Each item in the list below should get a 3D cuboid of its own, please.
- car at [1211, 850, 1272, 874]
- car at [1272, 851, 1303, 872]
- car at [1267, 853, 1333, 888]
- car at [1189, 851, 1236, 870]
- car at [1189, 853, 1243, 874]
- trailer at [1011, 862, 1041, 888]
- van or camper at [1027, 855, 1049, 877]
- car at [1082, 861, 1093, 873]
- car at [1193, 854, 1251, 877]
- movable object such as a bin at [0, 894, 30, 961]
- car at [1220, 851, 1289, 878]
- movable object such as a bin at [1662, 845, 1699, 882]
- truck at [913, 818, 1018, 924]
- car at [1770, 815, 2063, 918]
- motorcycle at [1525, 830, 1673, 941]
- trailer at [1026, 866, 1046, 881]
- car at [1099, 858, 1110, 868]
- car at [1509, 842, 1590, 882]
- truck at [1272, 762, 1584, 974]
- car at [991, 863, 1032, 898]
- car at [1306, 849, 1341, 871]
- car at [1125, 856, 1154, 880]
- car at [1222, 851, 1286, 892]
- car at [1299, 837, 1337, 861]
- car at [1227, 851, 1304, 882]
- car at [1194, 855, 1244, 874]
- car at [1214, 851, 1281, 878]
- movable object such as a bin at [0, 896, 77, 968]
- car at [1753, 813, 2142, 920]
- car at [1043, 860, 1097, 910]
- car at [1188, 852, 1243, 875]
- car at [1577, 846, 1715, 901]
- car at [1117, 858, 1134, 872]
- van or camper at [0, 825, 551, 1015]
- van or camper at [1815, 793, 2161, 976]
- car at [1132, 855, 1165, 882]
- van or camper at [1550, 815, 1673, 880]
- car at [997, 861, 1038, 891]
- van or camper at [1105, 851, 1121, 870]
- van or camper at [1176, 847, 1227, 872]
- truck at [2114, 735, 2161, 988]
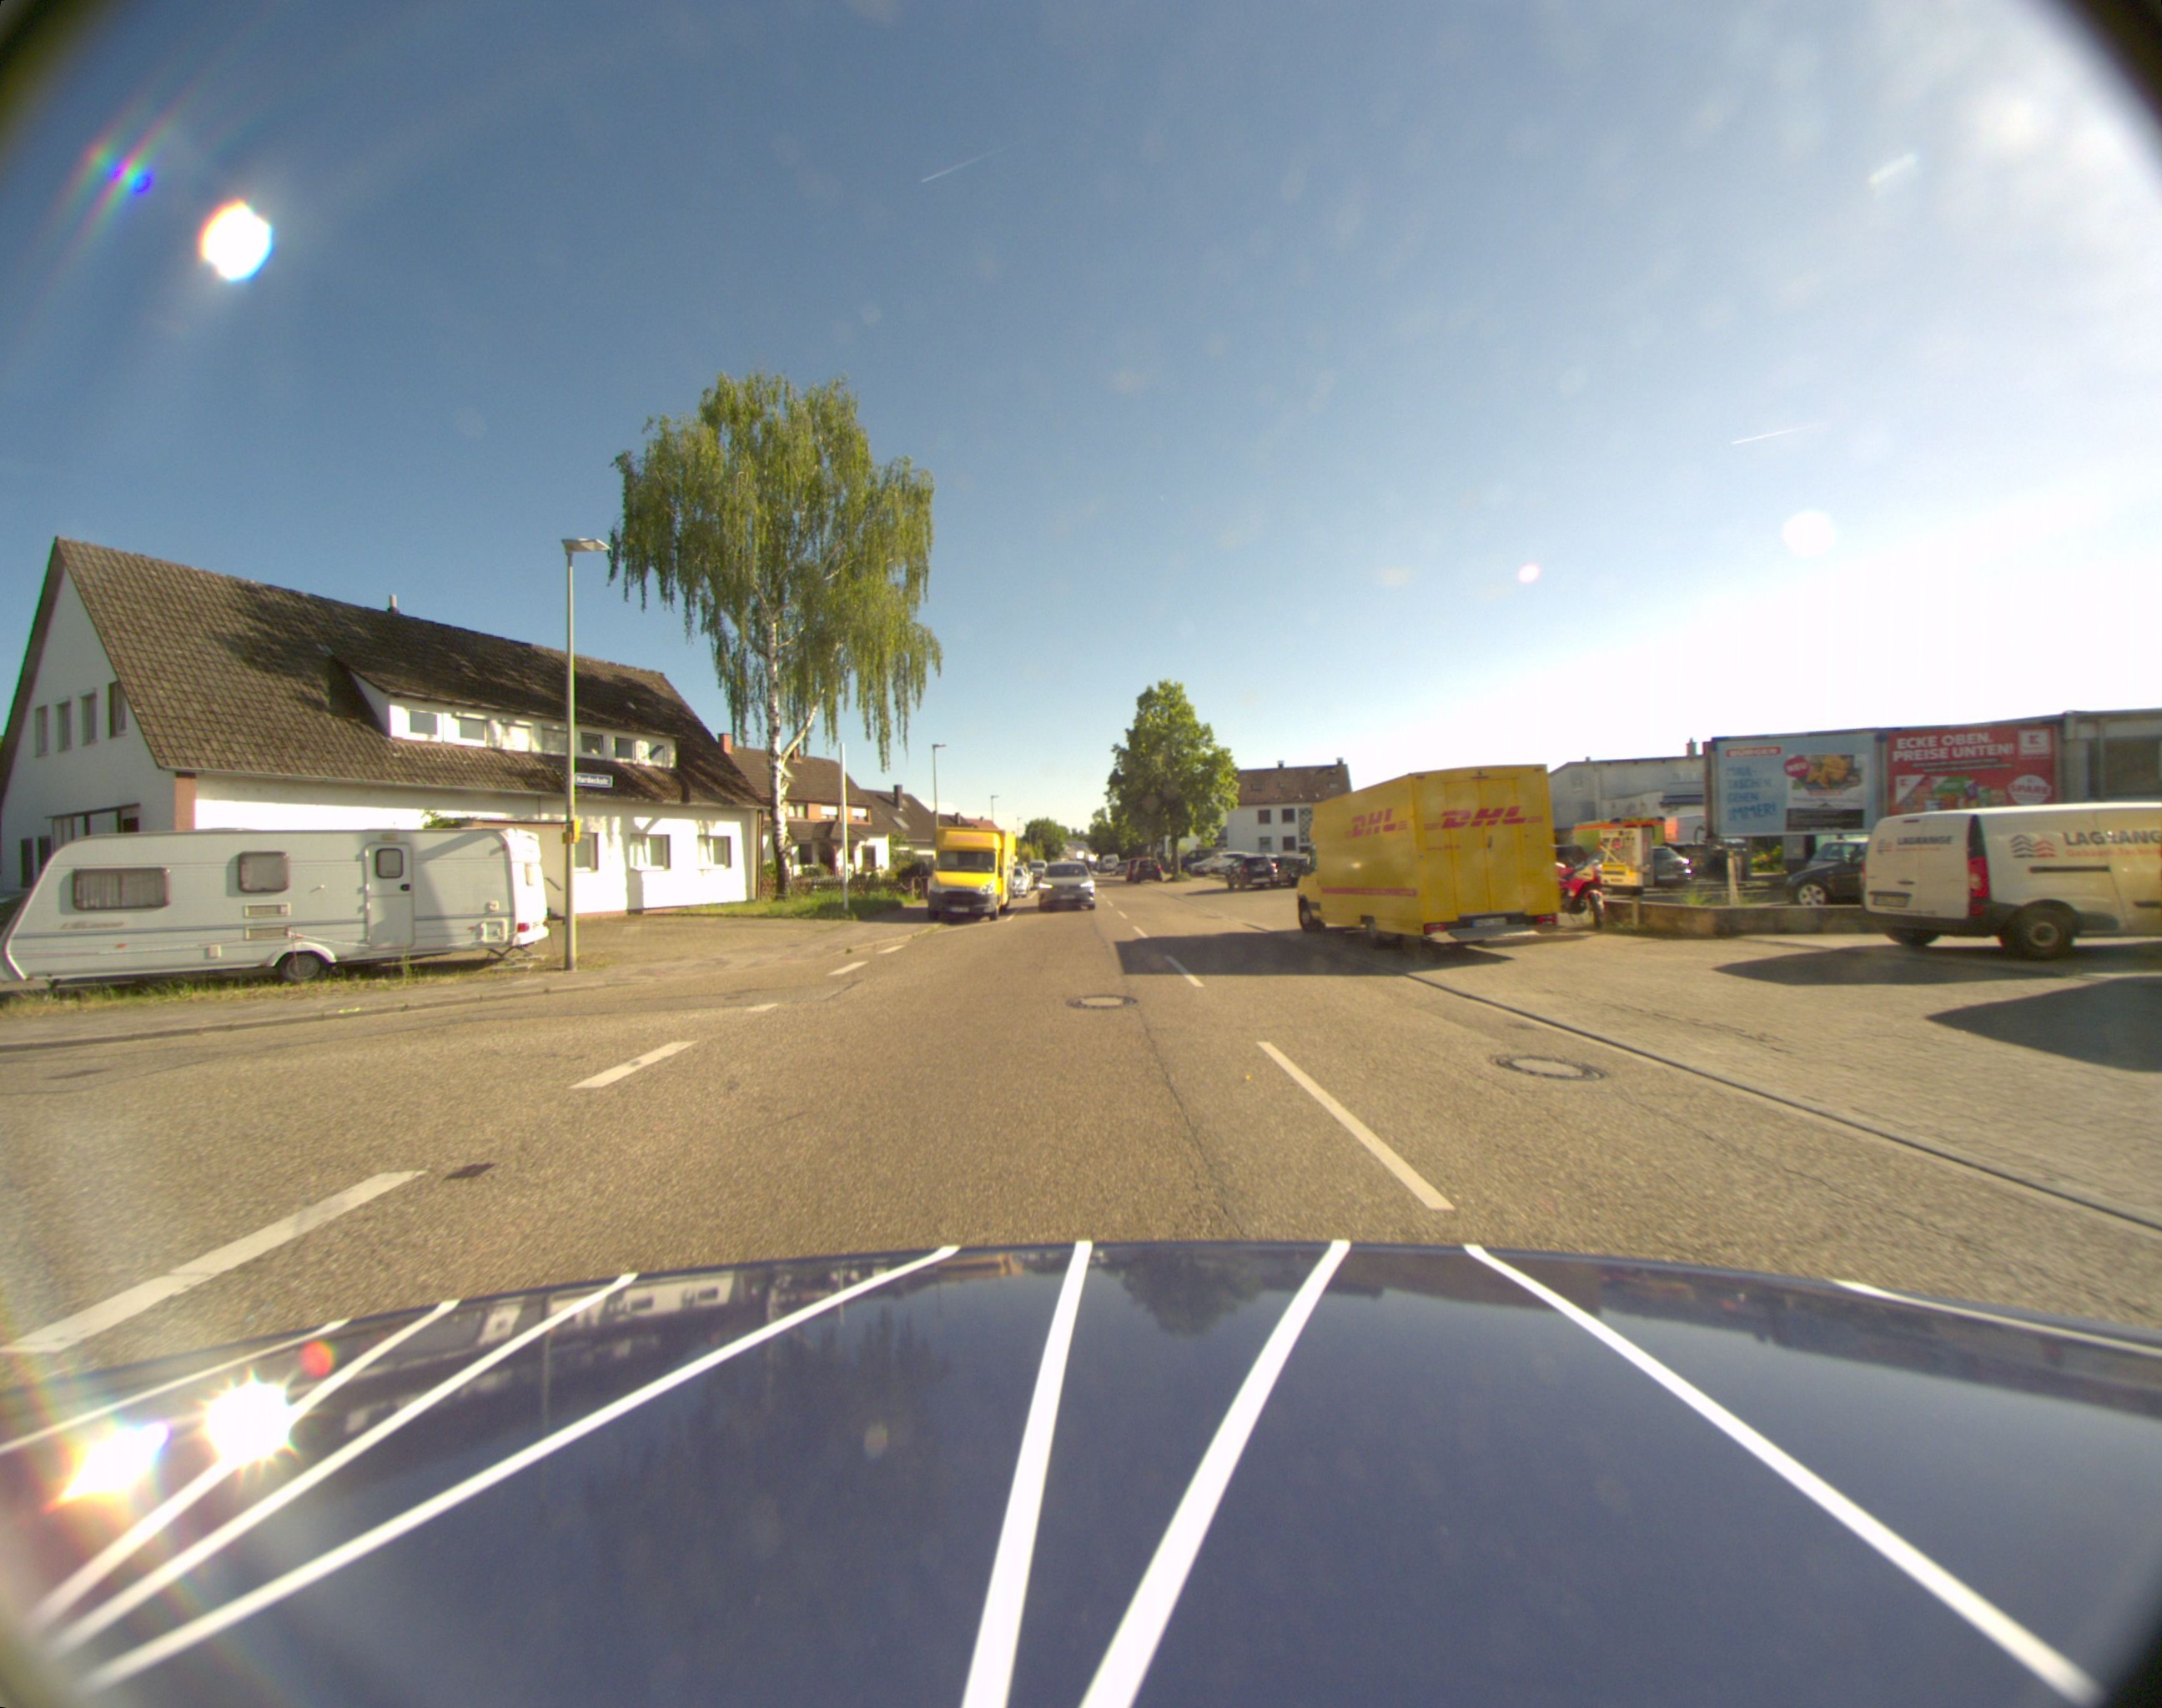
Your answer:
[{"bbox_3d":[12.233,0.588,58.091,4.259,1.718,1.766,-1,0,0],"label":"car"},{"bbox_3d":[16.000,0.545,59.005,1.667,1.508,4.002,-2,0,5],"label":"car"},{"bbox_3d":[10.533,0.768,36.884,1.866,1.580,4.276,-2,0,-1],"label":"car"},{"bbox_3d":[11.613,0.607,67.220,3.815,1.533,1.548,-2,0,0],"label":"car"},{"bbox_3d":[11.544,0.827,65.086,4.260,1.576,1.765,-2,0,-2],"label":"car"},{"bbox_3d":[-3.474,1.313,48.611,1.631,1.529,3.198,-2,0,0],"label":"trailer"},{"bbox_3d":[-3.973,1.096,70.320,1.723,1.879,4.179,-2,0,0],"label":"van or camper"},{"bbox_3d":[1.169,2.304,133.106,1.899,2.019,4.818,0,0,0],"label":"car"},{"bbox_3d":[11.114,0.889,60.100,4.258,1.718,1.766,-1,0,5],"label":"car"},{"bbox_3d":[-23.881,1.608,16.722,1.191,1.428,0.601,-2,0,23],"label":"movable object such as a bin"},{"bbox_3d":[11.515,0.698,50.619,4.258,1.718,1.766,-1,0,5],"label":"car"},{"bbox_3d":[24.635,0.382,31.239,0.731,1.480,1.048,-2,0,7],"label":"movable object such as a bin"},{"bbox_3d":[-3.489,0.475,24.599,2.409,2.919,7.015,1,0,-1],"label":"truck"},{"bbox_3d":[17.316,0.229,16.119,1.997,1.805,4.002,-3,0,7],"label":"car"},{"bbox_3d":[9.858,0.575,14.680,0.783,1.862,3.042,-5,-1,3],"label":"motorcycle"},{"bbox_3d":[-3.845,1.679,65.342,1.632,1.210,3.144,-2,0,-3],"label":"trailer"},{"bbox_3d":[3.948,1.518,128.453,1.697,1.556,3.907,-5,-1,2],"label":"car"},{"bbox_3d":[21.794,0.397,35.514,1.779,1.737,4.168,-2,-2,10],"label":"car"},{"bbox_3d":[6.016,0.215,14.758,2.409,2.965,7.244,-3,0,-2],"label":"truck"},{"bbox_3d":[-3.311,1.250,36.848,1.789,1.533,4.536,-2,0,-4],"label":"car"},{"bbox_3d":[18.482,0.447,57.976,1.667,1.609,4.002,-2,0,5],"label":"car"},{"bbox_3d":[4.586,1.068,59.843,1.808,1.742,4.341,-3,0,0],"label":"car"},{"bbox_3d":[8.265,0.807,36.672,1.866,1.704,4.276,-5,0,-1],"label":"car"},{"bbox_3d":[16.022,-0.293,51.501,1.667,1.508,4.002,-2,0,5],"label":"car"},{"bbox_3d":[11.139,0.746,46.105,4.258,1.718,1.766,-1,0,5],"label":"car"},{"bbox_3d":[12.564,0.944,69.414,4.258,1.533,1.766,-2,0,5],"label":"car"},{"bbox_3d":[11.588,0.734,53.060,4.259,1.718,1.766,-1,0,1],"label":"car"},{"bbox_3d":[-22.377,1.632,16.190,0.834,1.428,0.993,-1,0,23],"label":"movable object such as a bin"},{"bbox_3d":[14.810,0.335,13.457,1.870,1.552,4.215,-2,-4,-2],"label":"car"},{"bbox_3d":[-0.423,1.072,27.288,1.778,1.624,3.704,-1,-1,-2],"label":"car"},{"bbox_3d":[11.132,0.792,62.912,4.258,1.742,1.766,-1,0,3],"label":"car"},{"bbox_3d":[17.439,0.606,23.729,1.779,1.536,4.302,-2,-2,12],"label":"car"},{"bbox_3d":[4.983,1.250,86.330,1.691,1.426,4.209,-4,-1,1],"label":"car"},{"bbox_3d":[-12.488,0.861,12.484,5.840,2.526,2.285,-1,0,-26],"label":"van or camper"},{"bbox_3d":[12.612,0.316,9.471,4.552,2.002,2.252,-2,0,6],"label":"van or camper"},{"bbox_3d":[4.736,1.020,53.884,1.678,1.761,4.555,-4,0,-1],"label":"car"},{"bbox_3d":[24.265,-0.269,35.146,2.168,2.699,6.274,-2,0,10],"label":"van or camper"},{"bbox_3d":[-3.463,1.189,42.207,1.678,1.533,4.044,-2,0,3],"label":"car"},{"bbox_3d":[4.572,1.019,109.094,2.128,2.474,5.557,-3,-2,1],"label":"van or camper"},{"bbox_3d":[12.024,0.535,75.582,4.901,2.307,2.245,-2,1,11],"label":"van or camper"},{"bbox_3d":[13.657,-0.074,6.364,5.931,2.552,2.225,-3,0,11],"label":"truck"}]
